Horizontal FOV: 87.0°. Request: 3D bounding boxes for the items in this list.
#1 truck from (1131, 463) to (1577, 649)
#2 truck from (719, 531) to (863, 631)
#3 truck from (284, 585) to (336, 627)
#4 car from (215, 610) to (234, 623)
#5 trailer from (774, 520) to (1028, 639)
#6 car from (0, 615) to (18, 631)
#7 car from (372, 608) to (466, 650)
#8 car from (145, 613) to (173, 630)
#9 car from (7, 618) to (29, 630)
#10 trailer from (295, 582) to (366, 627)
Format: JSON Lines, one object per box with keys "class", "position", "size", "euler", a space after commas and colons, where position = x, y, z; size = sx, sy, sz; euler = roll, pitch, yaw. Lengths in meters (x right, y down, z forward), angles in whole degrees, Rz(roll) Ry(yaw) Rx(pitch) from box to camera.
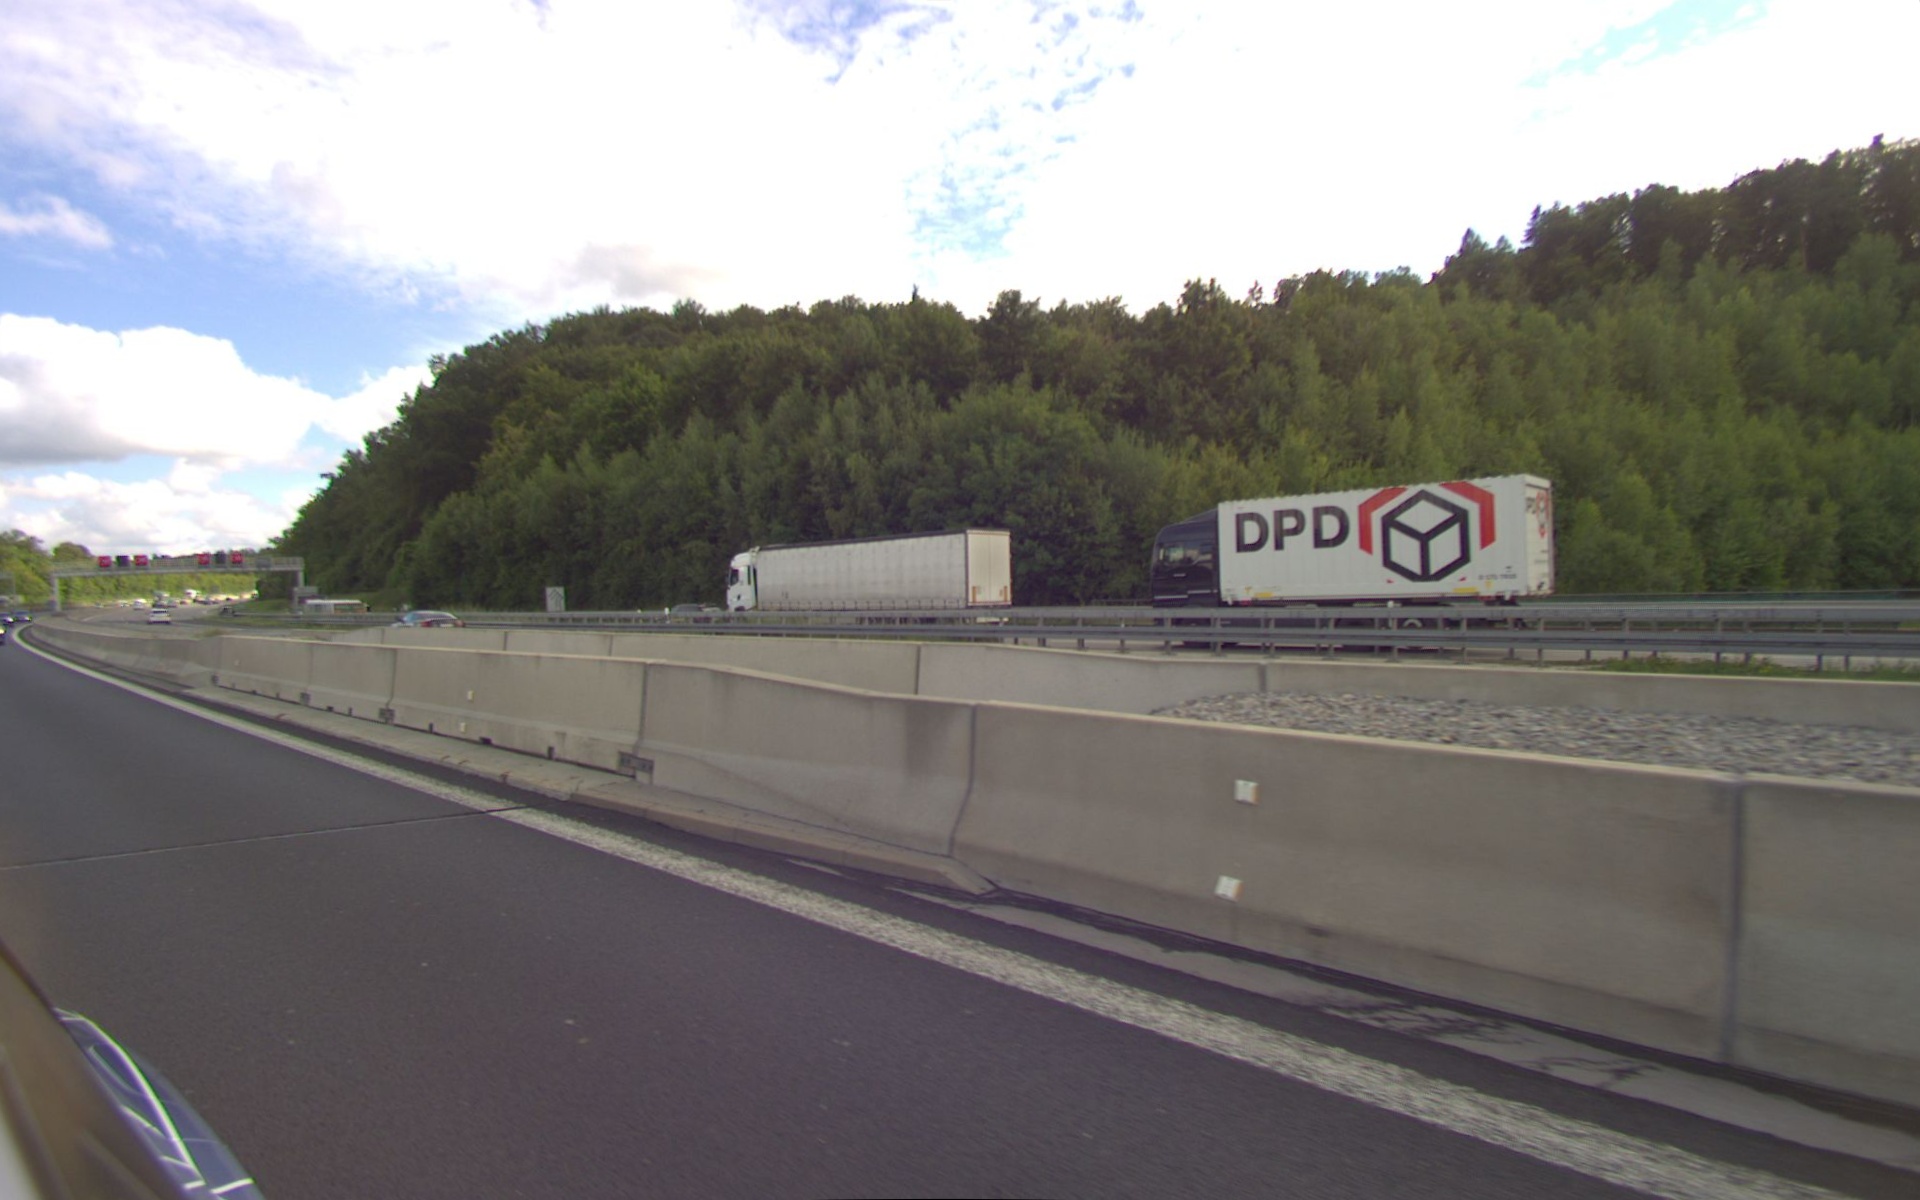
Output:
{"class": "truck", "position": [9.698, -1.006, 26.254], "size": [10.461, 3.998, 2.871], "euler": [1, 1, 42]}
{"class": "truck", "position": [-7.979, -0.888, 47.313], "size": [6.751, 4.324, 3.283], "euler": [1, 1, 44]}
{"class": "truck", "position": [-62.022, 0.536, 96.560], "size": [2.777, 3.855, 7.134], "euler": [-1, 0, -44]}
{"class": "car", "position": [-115.421, 2.598, 158.787], "size": [1.970, 2.029, 4.004], "euler": [-1, 0, -43]}
{"class": "trailer", "position": [-2.837, -0.817, 42.287], "size": [12.145, 4.324, 3.284], "euler": [1, 1, 44]}
{"class": "car", "position": [-94.373, 2.290, 99.869], "size": [1.970, 1.484, 4.005], "euler": [-1, 0, -42]}
{"class": "car", "position": [-21.579, 1.101, 40.267], "size": [5.124, 1.458, 1.854], "euler": [1, 1, 44]}
{"class": "car", "position": [-82.758, 2.188, 104.558], "size": [1.693, 1.539, 4.769], "euler": [-1, 1, -45]}
{"class": "car", "position": [-117.486, 2.963, 126.242], "size": [1.969, 1.484, 4.005], "euler": [-1, 0, -42]}
{"class": "trailer", "position": [-56.906, 0.442, 91.347], "size": [2.781, 3.835, 12.195], "euler": [-1, 0, -45]}
